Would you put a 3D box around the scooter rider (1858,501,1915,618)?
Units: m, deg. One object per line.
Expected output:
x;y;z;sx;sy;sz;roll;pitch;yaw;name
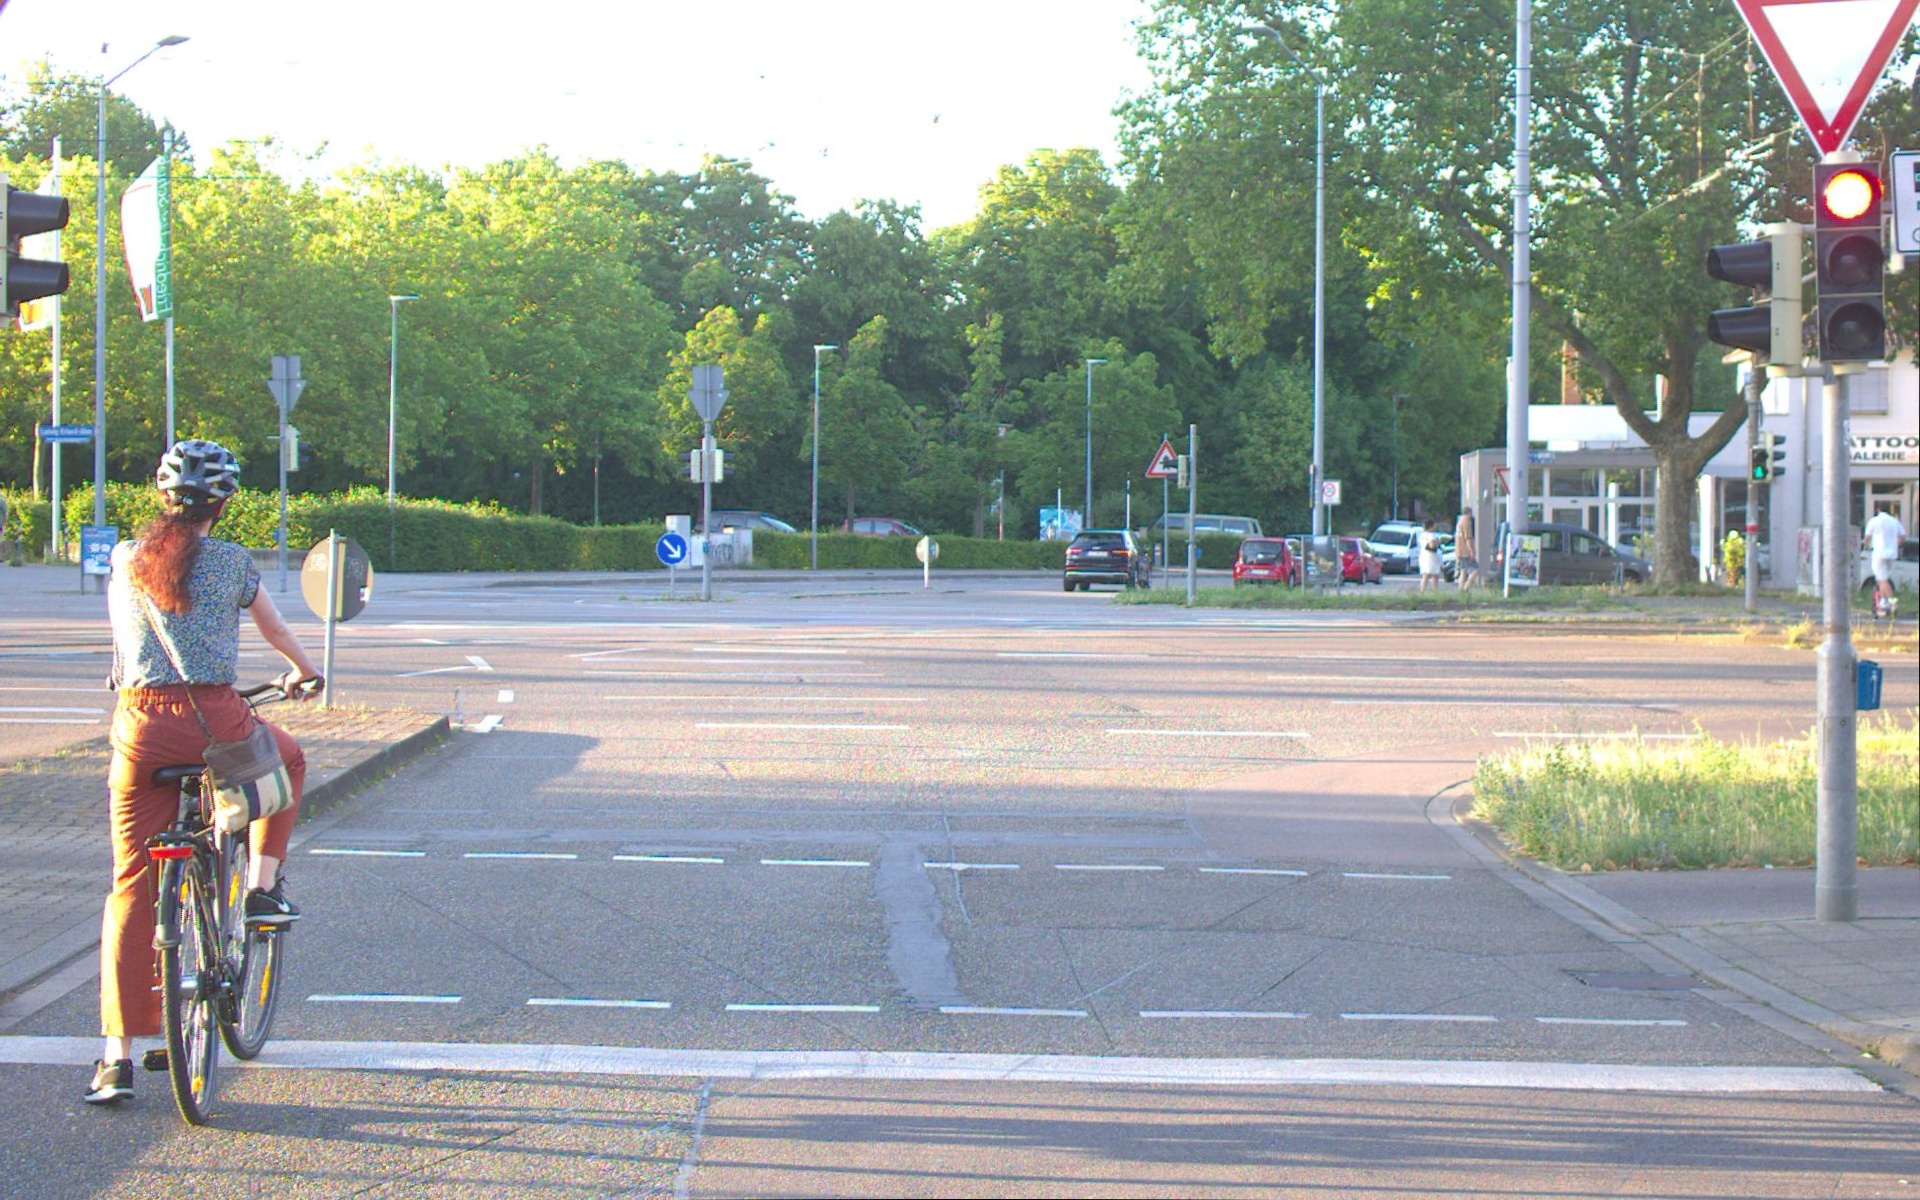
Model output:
14.858;-0.645;55.127;0.702;1.848;0.669;1;0;-1;scooter rider

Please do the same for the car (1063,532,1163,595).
3.893;-0.900;86.789;1.756;1.535;4.398;1;0;13;car

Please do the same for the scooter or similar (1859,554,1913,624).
14.856;-0.183;55.166;0.510;1.086;1.243;1;1;-1;scooter or similar

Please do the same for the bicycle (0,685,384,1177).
-2.039;0.817;9.266;0.634;1.064;2.122;1;1;-1;bicycle

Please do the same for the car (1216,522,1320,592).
8.596;-1.221;95.708;1.870;1.868;3.870;1;2;21;car

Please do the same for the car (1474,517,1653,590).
15.586;-1.206;88.970;4.378;1.828;1.949;1;1;5;car

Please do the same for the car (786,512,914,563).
-3.486;-2.000;109.521;3.987;1.555;2.000;1;1;1;car

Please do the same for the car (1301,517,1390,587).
11.610;-1.466;103.320;1.916;2.040;3.997;1;2;17;car

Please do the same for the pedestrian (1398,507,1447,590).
9.191;-1.020;68.325;0.719;1.633;0.896;1;1;24;pedestrian

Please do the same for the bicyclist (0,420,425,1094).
-2.038;0.390;9.273;1.031;1.712;0.996;1;1;-1;bicyclist

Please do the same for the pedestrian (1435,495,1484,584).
9.885;-1.196;67.966;0.719;1.748;0.896;1;1;24;pedestrian

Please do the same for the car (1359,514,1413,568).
16.237;-2.275;131.180;1.994;2.007;3.999;1;1;7;car

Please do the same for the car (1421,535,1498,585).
16.790;-1.351;115.492;1.916;1.597;3.997;1;2;17;car

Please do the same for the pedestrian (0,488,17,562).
-23.077;-1.792;82.214;0.894;1.748;0.721;0;1;-26;pedestrian

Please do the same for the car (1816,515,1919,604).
20.402;-0.850;72.482;4.230;1.840;2.000;1;1;2;car
